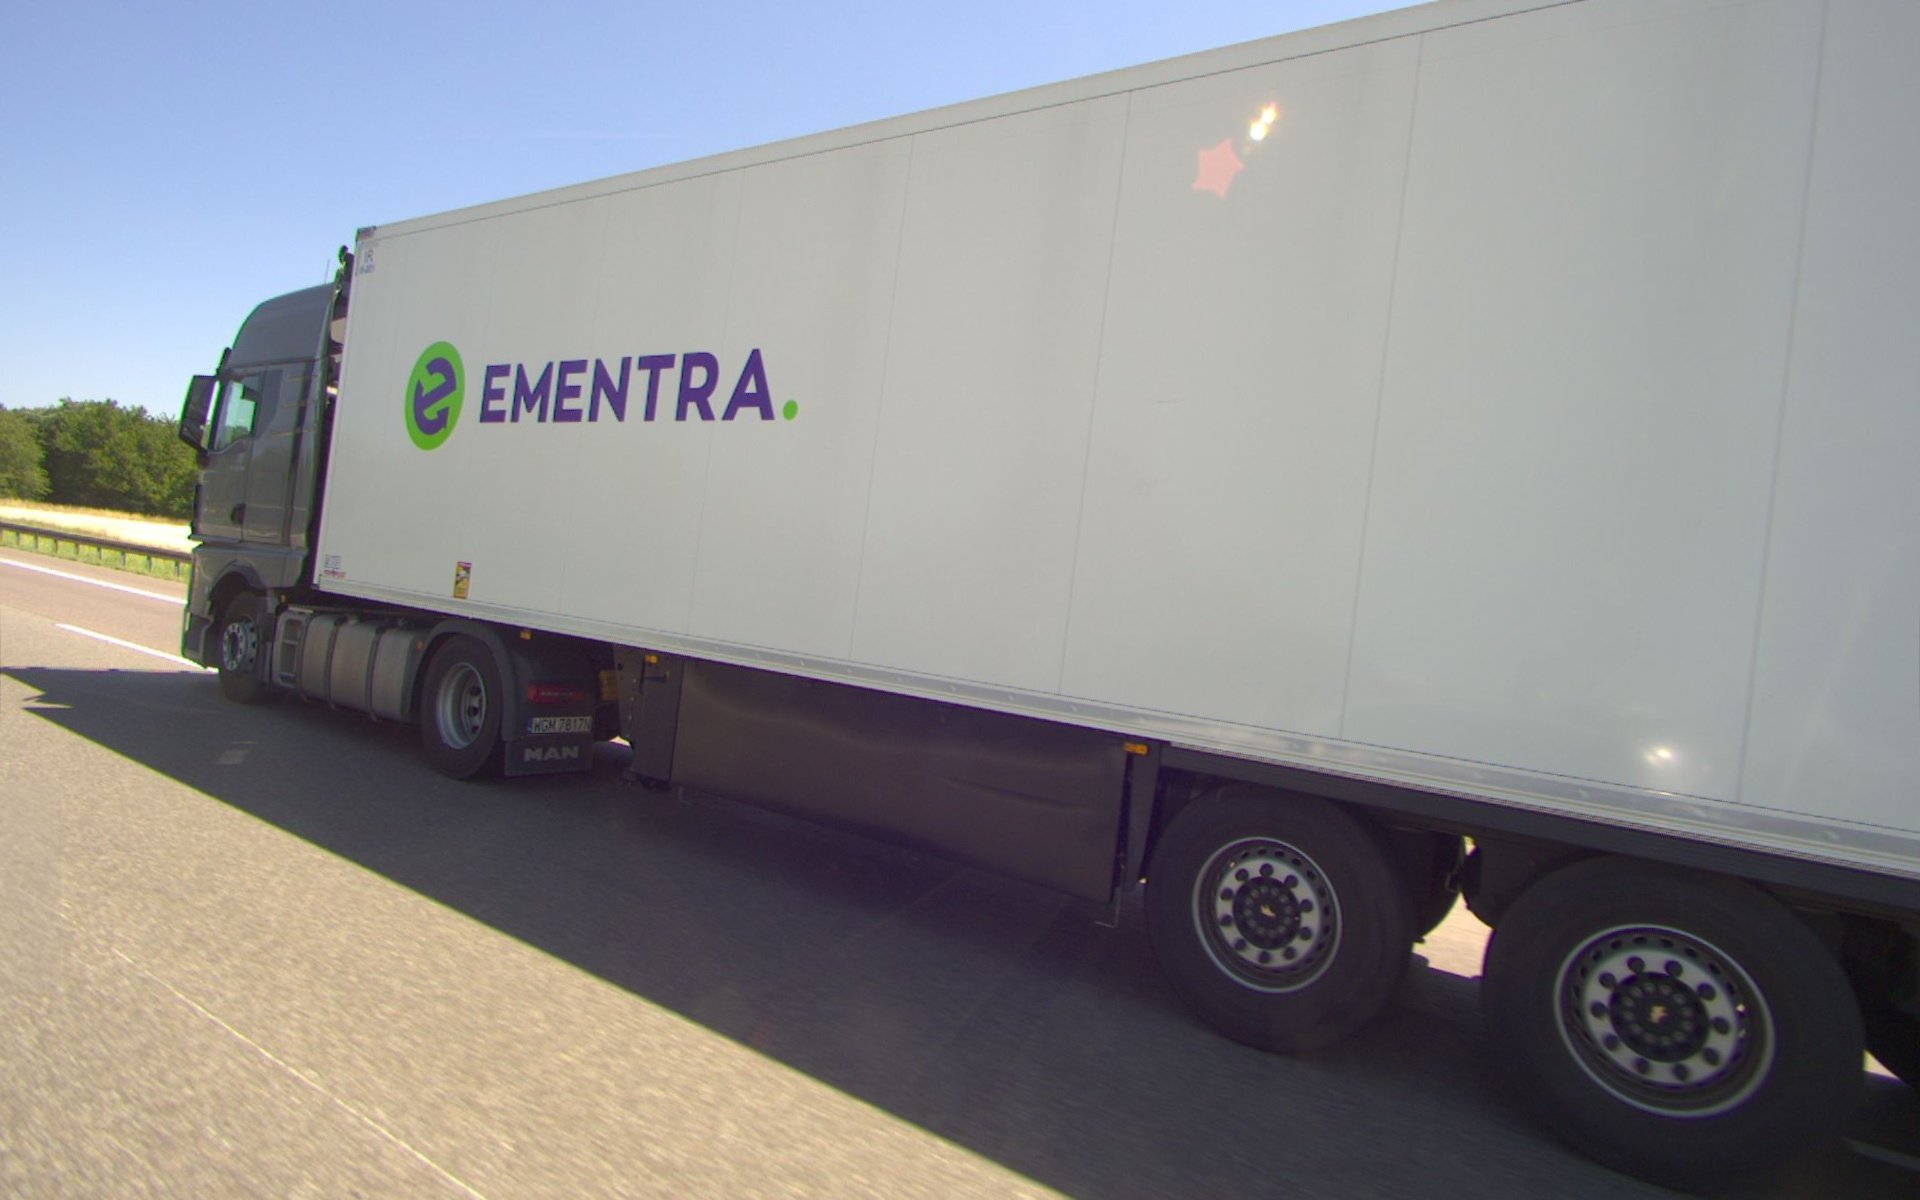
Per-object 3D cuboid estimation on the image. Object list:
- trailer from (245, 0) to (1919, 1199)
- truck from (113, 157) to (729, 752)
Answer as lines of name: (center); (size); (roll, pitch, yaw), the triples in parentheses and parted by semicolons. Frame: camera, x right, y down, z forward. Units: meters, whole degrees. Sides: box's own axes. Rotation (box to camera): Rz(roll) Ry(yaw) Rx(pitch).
trailer: (0.938, -0.647, 5.717); (13.758, 4.712, 2.905); (6, -1, 33)
truck: (-5.286, -1.130, 9.796); (4.895, 4.306, 2.912); (7, -1, 33)
